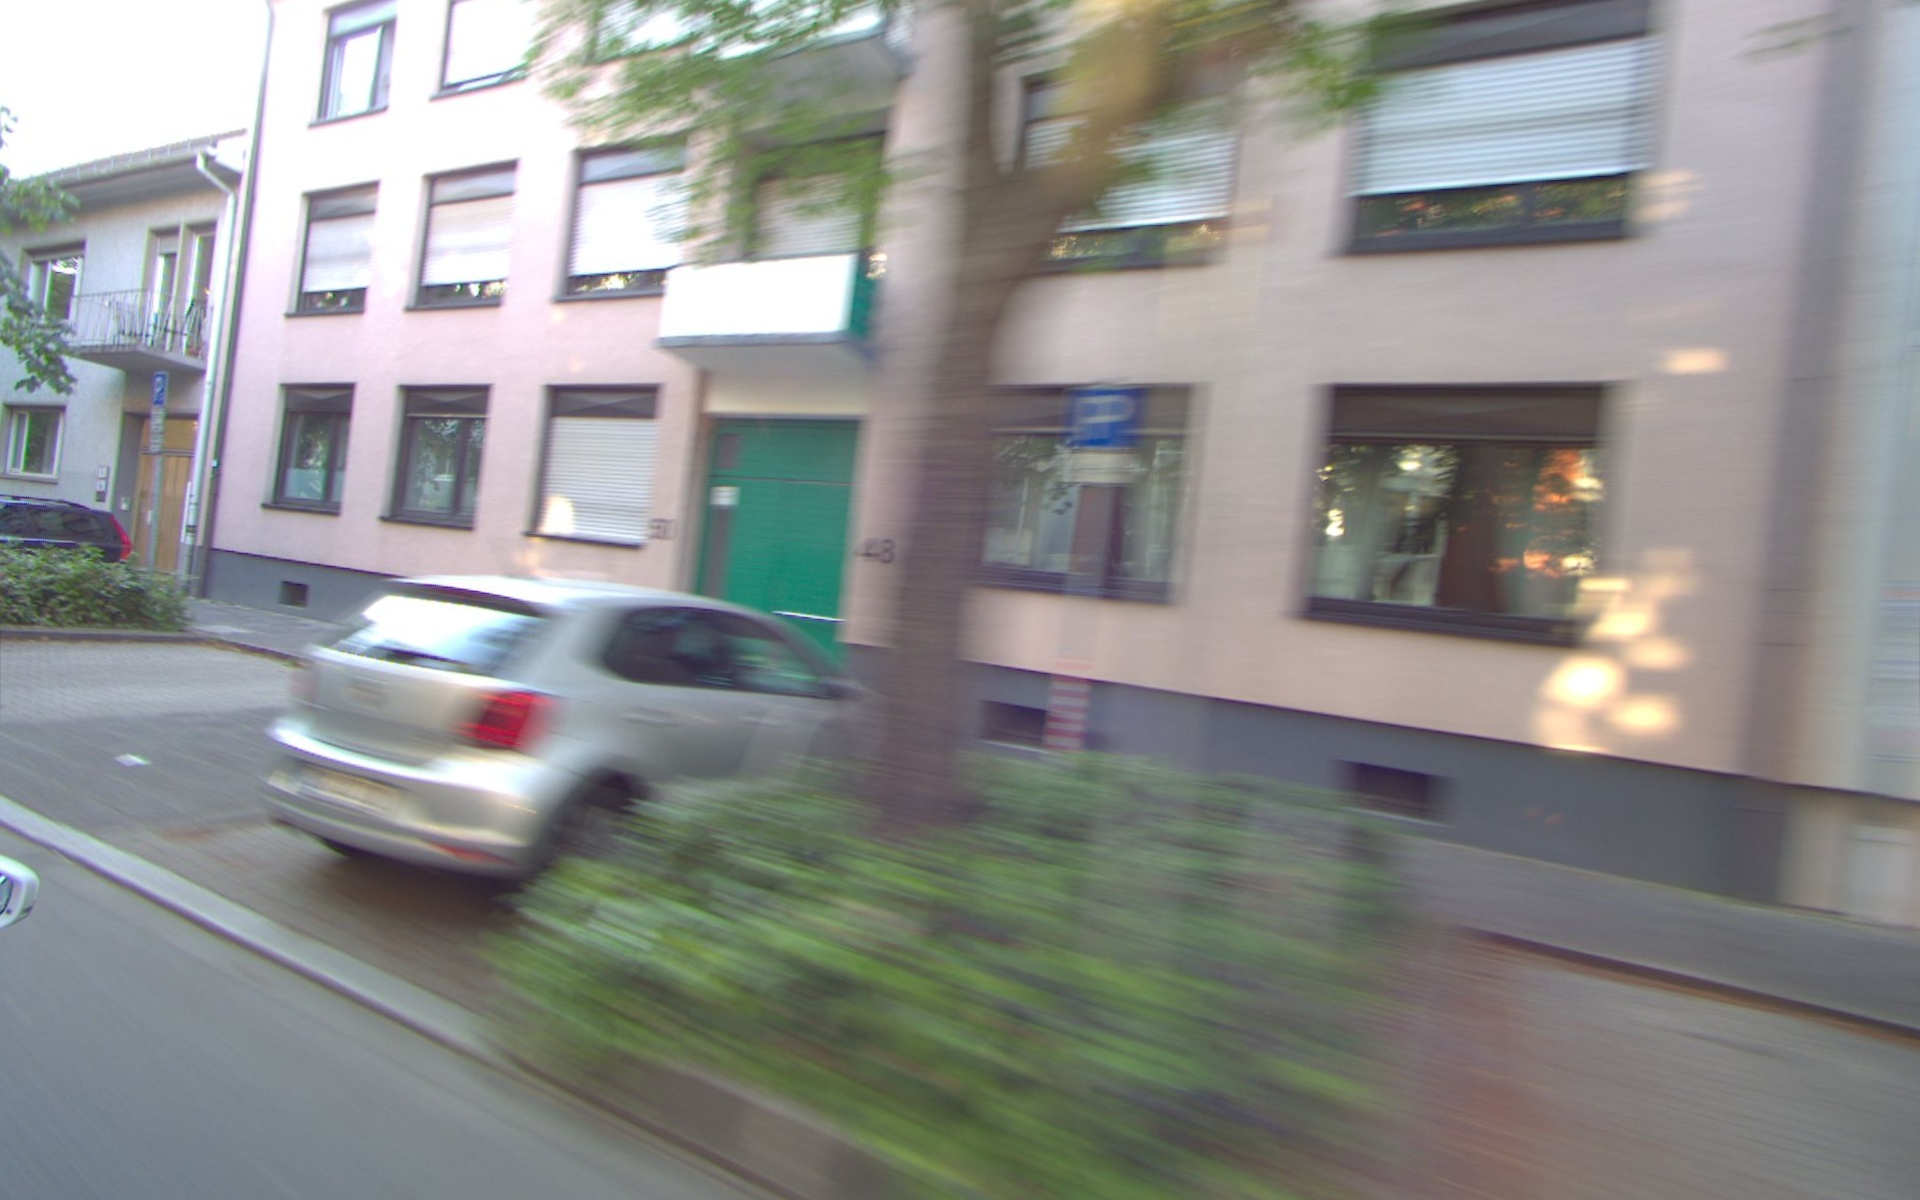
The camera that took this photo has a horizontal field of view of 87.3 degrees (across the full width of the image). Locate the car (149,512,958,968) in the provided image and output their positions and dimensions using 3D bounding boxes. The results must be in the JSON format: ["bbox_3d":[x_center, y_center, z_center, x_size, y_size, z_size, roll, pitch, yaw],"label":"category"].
[{"bbox_3d":[-1.750,0.630,5.796,1.766,1.508,4.094,7,-2,25],"label":"car"}]

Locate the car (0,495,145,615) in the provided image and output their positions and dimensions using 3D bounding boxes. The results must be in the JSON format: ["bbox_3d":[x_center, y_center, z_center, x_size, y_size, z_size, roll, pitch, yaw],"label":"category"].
[{"bbox_3d":[-13.509,-0.740,12.471,2.008,1.466,4.845,6,0,30],"label":"car"}]
